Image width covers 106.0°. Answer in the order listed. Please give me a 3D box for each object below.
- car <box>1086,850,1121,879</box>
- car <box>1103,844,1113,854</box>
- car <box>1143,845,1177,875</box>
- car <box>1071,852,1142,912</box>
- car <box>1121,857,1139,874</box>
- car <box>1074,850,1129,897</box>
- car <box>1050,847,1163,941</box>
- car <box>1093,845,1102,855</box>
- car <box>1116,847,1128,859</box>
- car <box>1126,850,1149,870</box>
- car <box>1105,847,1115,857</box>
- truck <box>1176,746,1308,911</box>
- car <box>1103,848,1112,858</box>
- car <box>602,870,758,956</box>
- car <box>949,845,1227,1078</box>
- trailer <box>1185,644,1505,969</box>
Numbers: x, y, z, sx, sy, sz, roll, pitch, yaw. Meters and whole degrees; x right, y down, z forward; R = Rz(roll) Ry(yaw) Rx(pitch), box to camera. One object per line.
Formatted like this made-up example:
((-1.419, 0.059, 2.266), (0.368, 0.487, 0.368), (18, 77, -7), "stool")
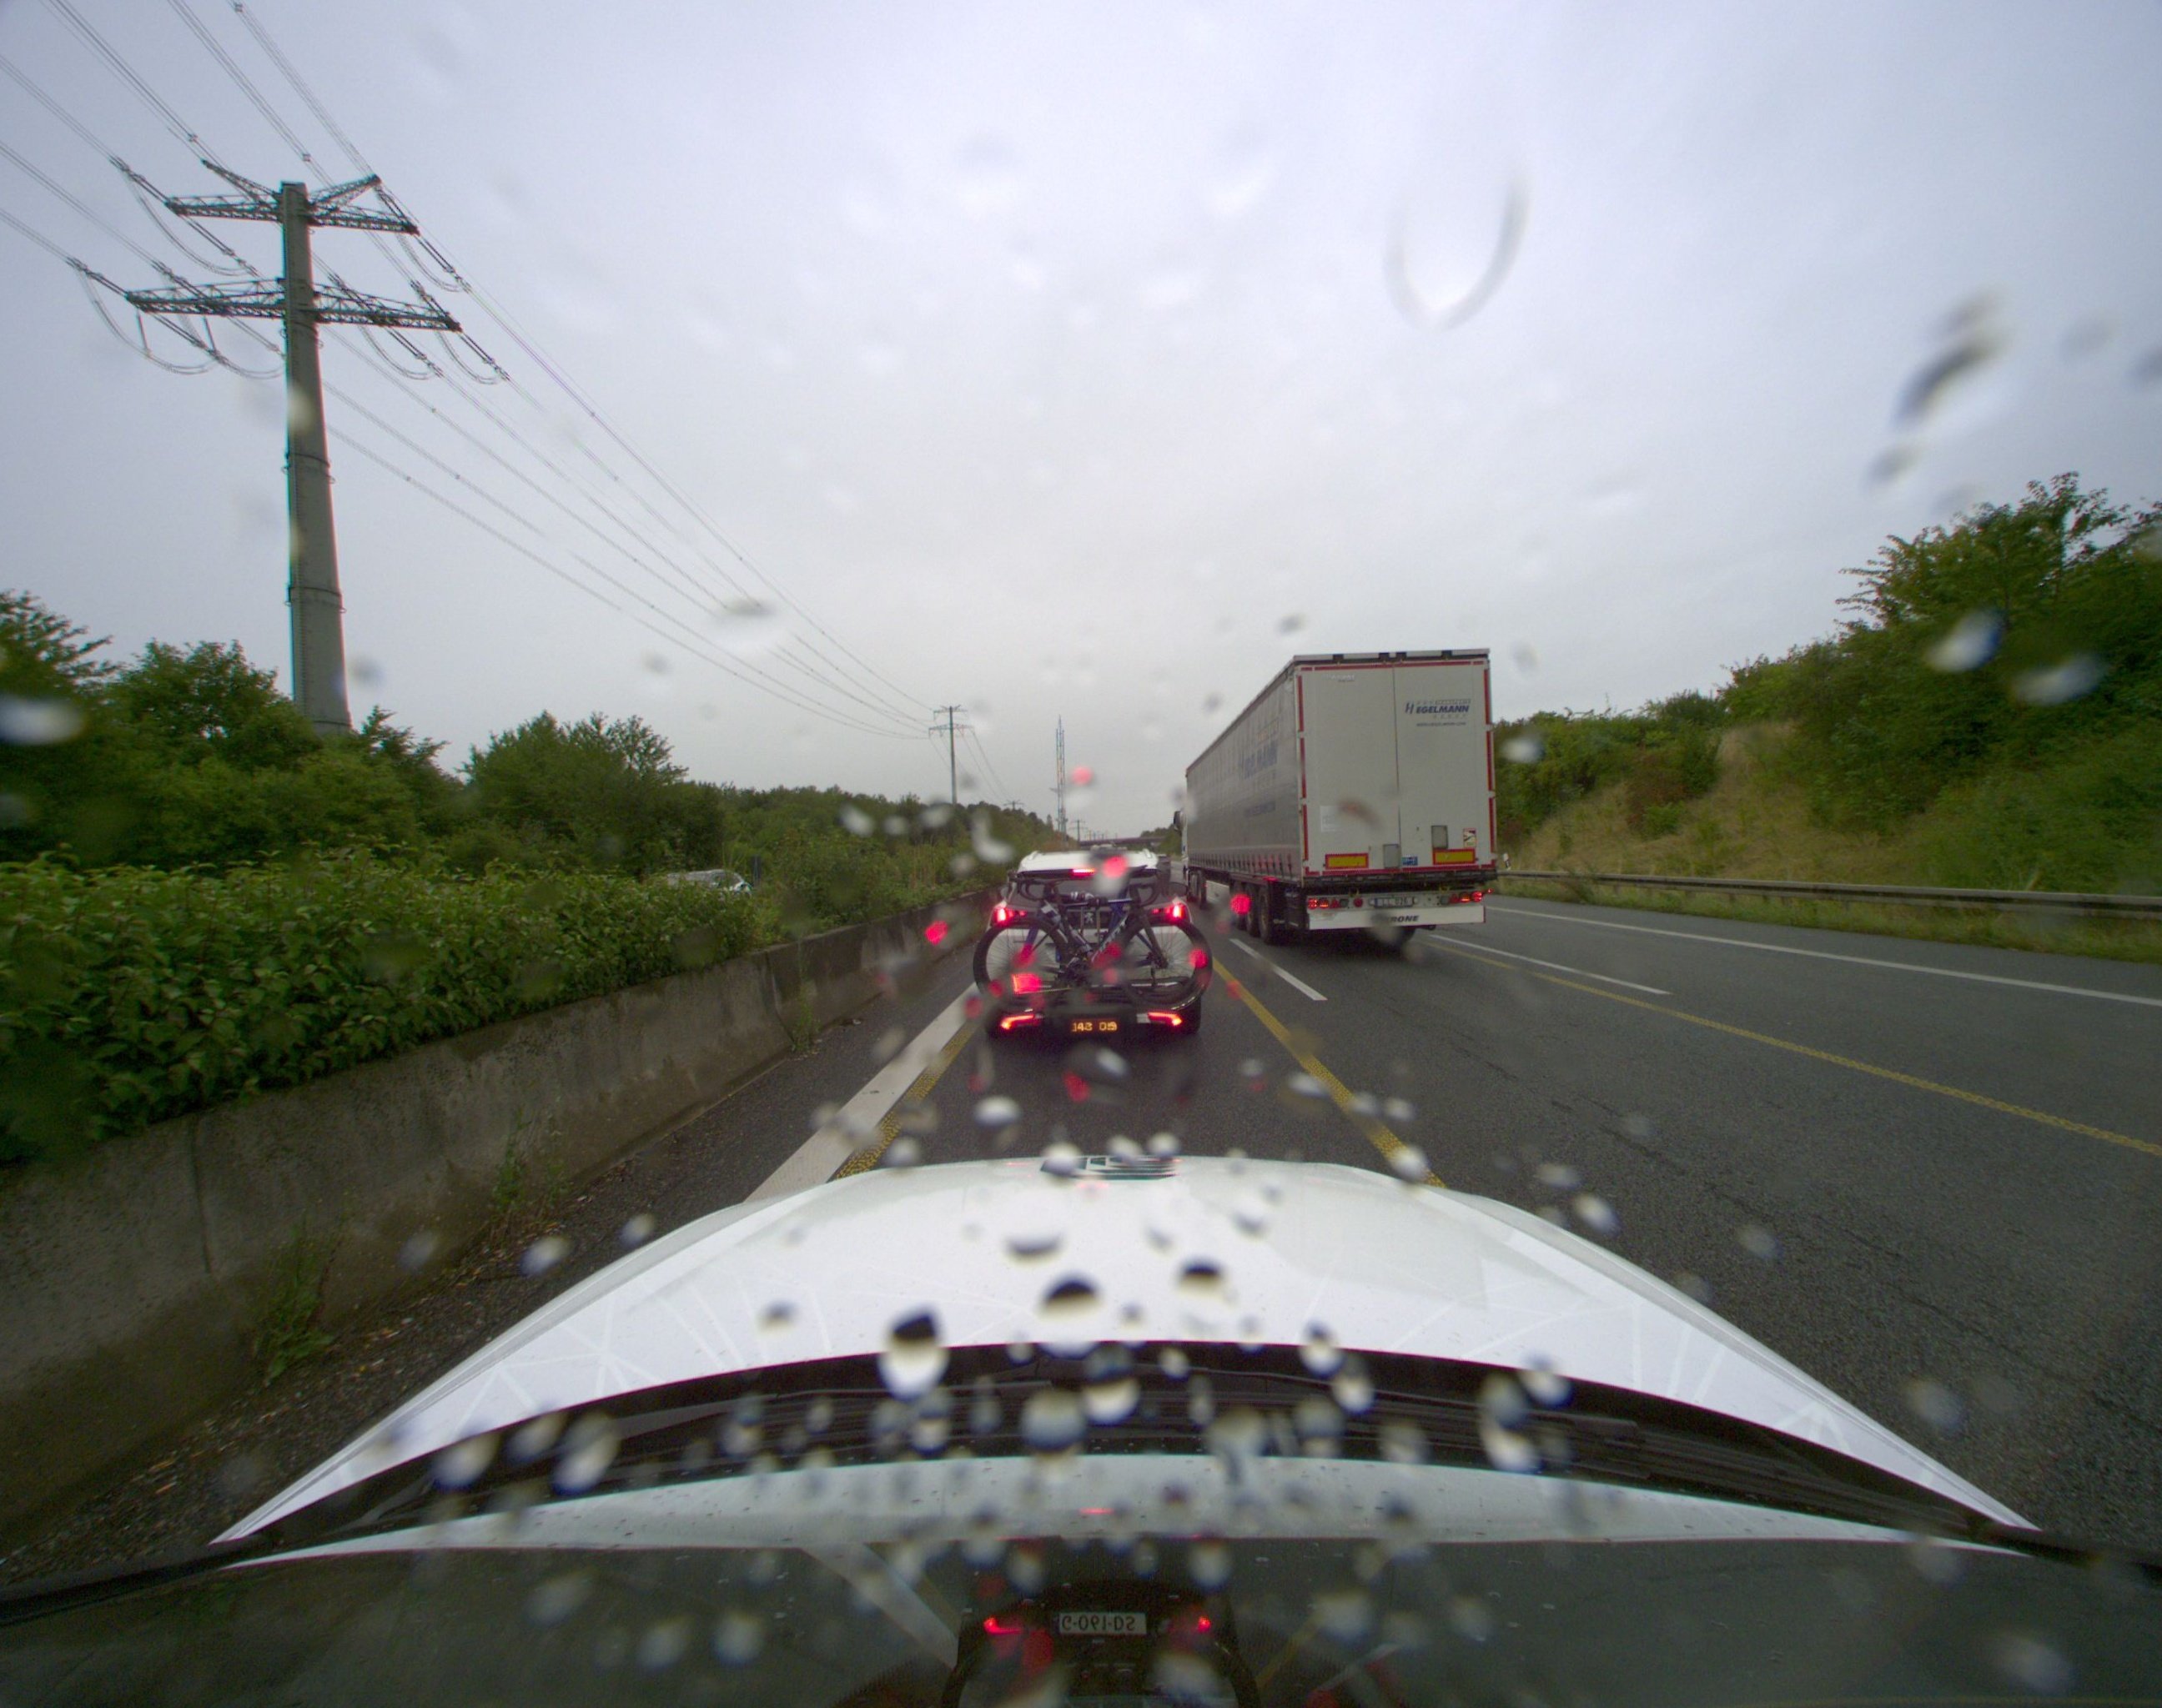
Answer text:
((1.273, 0.540, 45.811), (1.843, 1.531, 4.002), (-1, 0, 2), "car")
((5.681, -1.106, 171.567), (1.924, 1.973, 4.002), (-1, 1, 2), "car")
((5.629, 0.403, 58.420), (2.102, 1.973, 4.002), (-1, 1, 2), "car")
((0.733, 0.727, 23.301), (1.843, 1.531, 4.002), (-1, 0, 2), "car")
((6.124, 1.480, 103.013), (2.140, 1.973, 4.002), (-1, 1, 2), "car")
((0.752, 0.650, 29.309), (1.843, 1.531, 4.002), (-1, 0, 2), "car")
((0.487, 0.663, 15.464), (1.843, 1.531, 4.002), (-1, 0, 2), "car")
((4.164, -1.001, 206.064), (2.249, 2.424, 4.002), (-1, 1, 2), "car")
((6.995, -0.195, 137.995), (1.924, 1.973, 4.002), (-1, 1, 2), "car")
((5.968, 0.626, 86.383), (2.140, 1.973, 4.001), (-1, 1, 1), "car")
((5.713, -0.384, 158.835), (1.924, 1.910, 4.002), (-1, 1, 2), "car")
((4.402, -0.647, 23.619), (2.650, 4.076, 6.542), (-1, 0, 2), "truck")
((5.375, -0.150, 165.830), (1.924, 1.973, 4.002), (-1, 1, 2), "car")
((-10.499, 1.468, 21.699), (1.986, 1.930, 4.002), (-2, 0, 2), "car")
((0.121, 0.723, 7.861), (1.843, 1.531, 4.770), (-1, 0, 2), "car")
((4.216, -0.607, 17.165), (2.682, 4.076, 13.639), (-1, 0, 2), "trailer")
